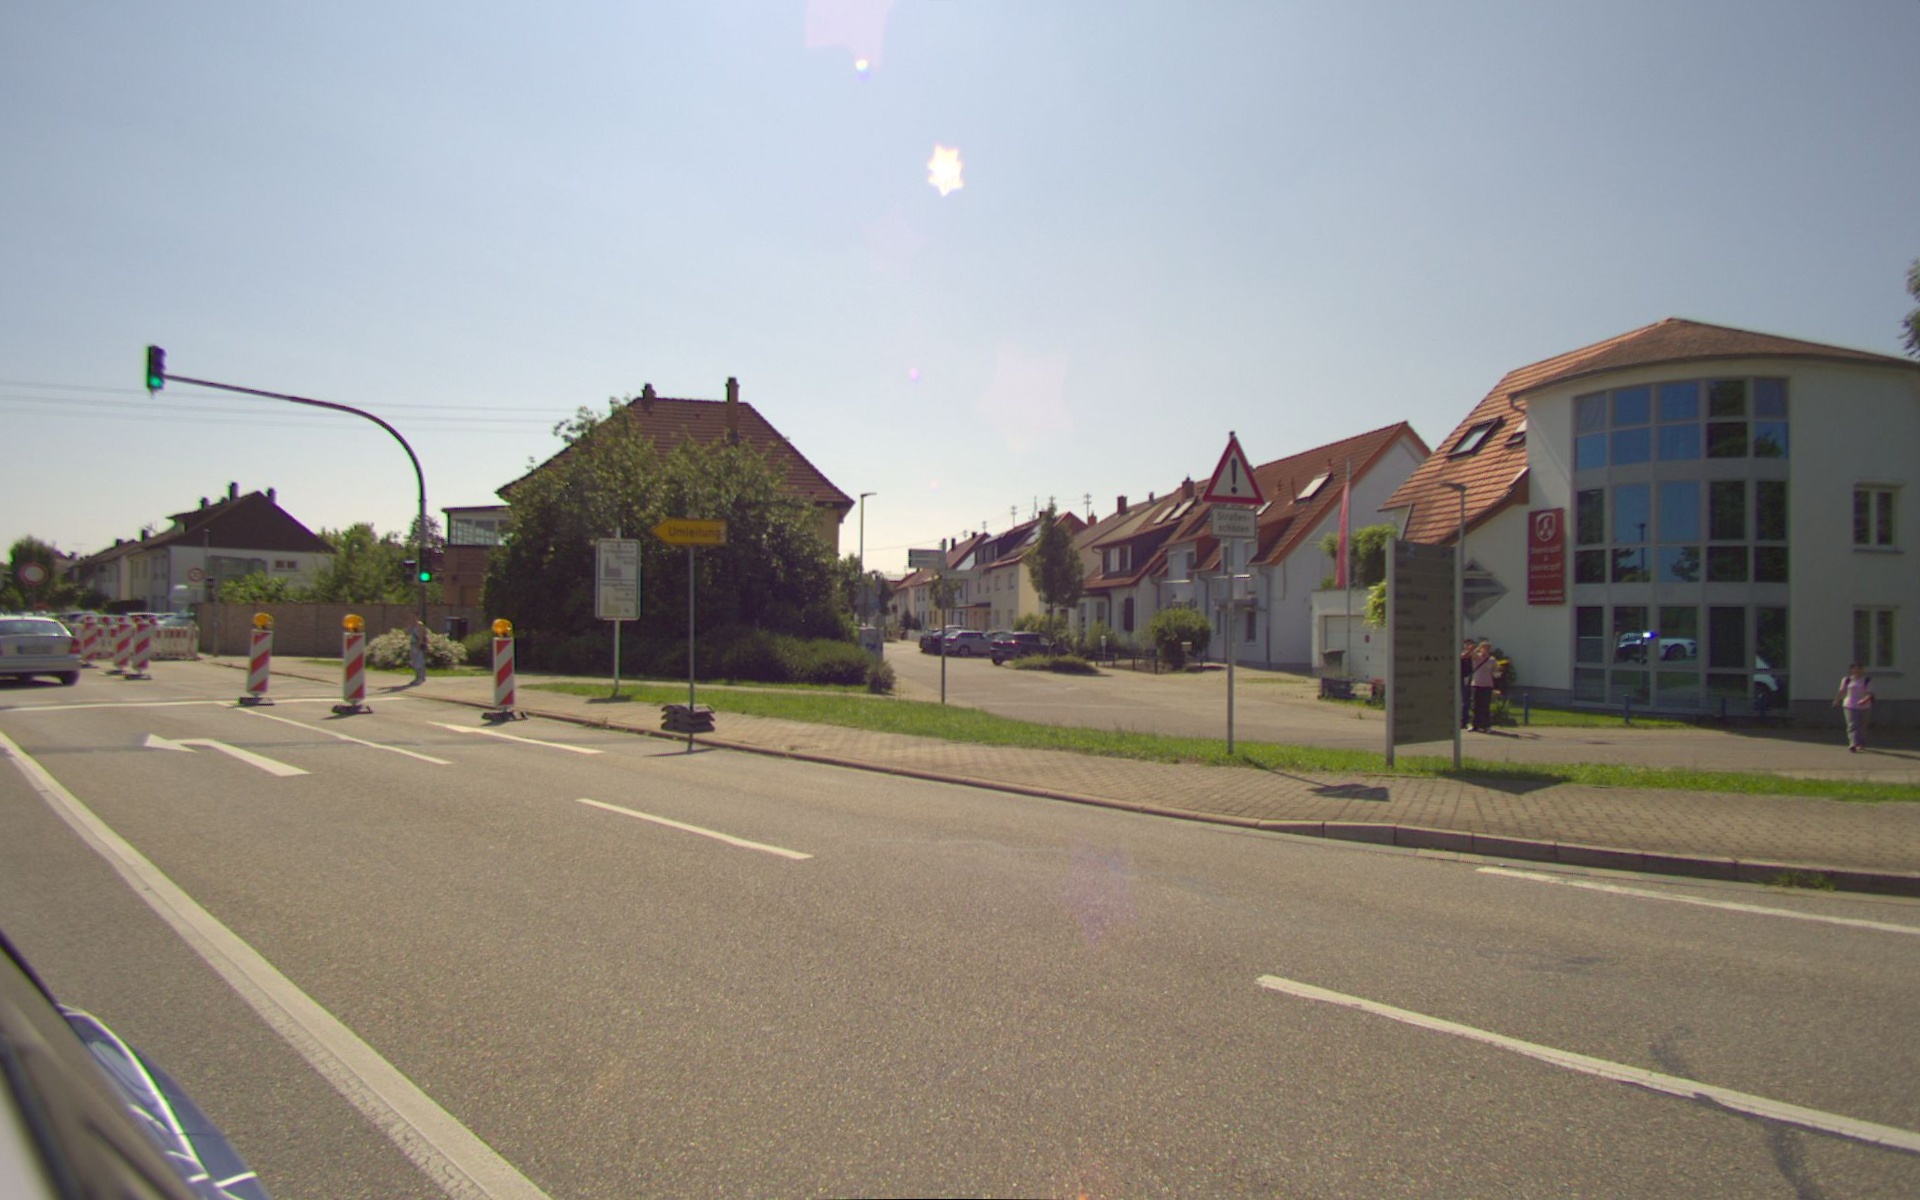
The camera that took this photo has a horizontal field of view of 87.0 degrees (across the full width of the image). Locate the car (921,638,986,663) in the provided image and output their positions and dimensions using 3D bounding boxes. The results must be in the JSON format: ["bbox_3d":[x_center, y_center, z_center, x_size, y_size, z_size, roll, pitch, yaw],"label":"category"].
[{"bbox_3d":[-0.353,2.816,56.183,3.282,1.342,1.426,1,-2,-18],"label":"car"}]

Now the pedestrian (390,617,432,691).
[{"bbox_3d":[-12.468,1.213,22.968,0.688,1.620,0.607,-1,0,43],"label":"pedestrian"}]

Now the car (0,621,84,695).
[{"bbox_3d":[-19.893,1.148,20.919,3.968,1.414,1.685,-1,-2,34],"label":"car"}]

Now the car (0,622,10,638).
[{"bbox_3d":[-92.094,2.850,96.537,3.914,1.428,1.717,-1,-2,41],"label":"car"}]

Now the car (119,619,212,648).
[{"bbox_3d":[-46.732,1.985,59.571,1.765,1.628,3.951,-1,-2,36],"label":"car"}]

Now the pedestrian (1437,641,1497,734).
[{"bbox_3d":[10.249,1.746,20.473,0.791,1.835,0.712,1,-2,-16],"label":"pedestrian"}]

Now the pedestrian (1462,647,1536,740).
[{"bbox_3d":[10.509,1.804,19.747,0.944,1.753,0.818,1,-2,-17],"label":"pedestrian"}]

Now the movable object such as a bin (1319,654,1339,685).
[{"bbox_3d":[12.645,2.377,34.715,0.562,1.070,0.395,-1,-3,35],"label":"movable object such as a bin"}]

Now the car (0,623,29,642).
[{"bbox_3d":[-77.824,2.640,83.009,3.914,1.525,1.717,-1,-2,41],"label":"car"}]

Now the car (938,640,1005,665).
[{"bbox_3d":[0.624,2.785,54.022,3.281,1.281,1.426,1,-2,-20],"label":"car"}]

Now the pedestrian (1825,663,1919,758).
[{"bbox_3d":[15.954,1.901,17.723,0.776,1.578,0.926,1,-2,-20],"label":"pedestrian"}]

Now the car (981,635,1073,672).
[{"bbox_3d":[2.935,2.279,43.988,3.940,1.472,1.805,1,-2,-44],"label":"car"}]

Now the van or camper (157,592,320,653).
[{"bbox_3d":[-35.759,1.147,50.384,2.284,2.866,6.191,-1,-2,33],"label":"van or camper"}]
